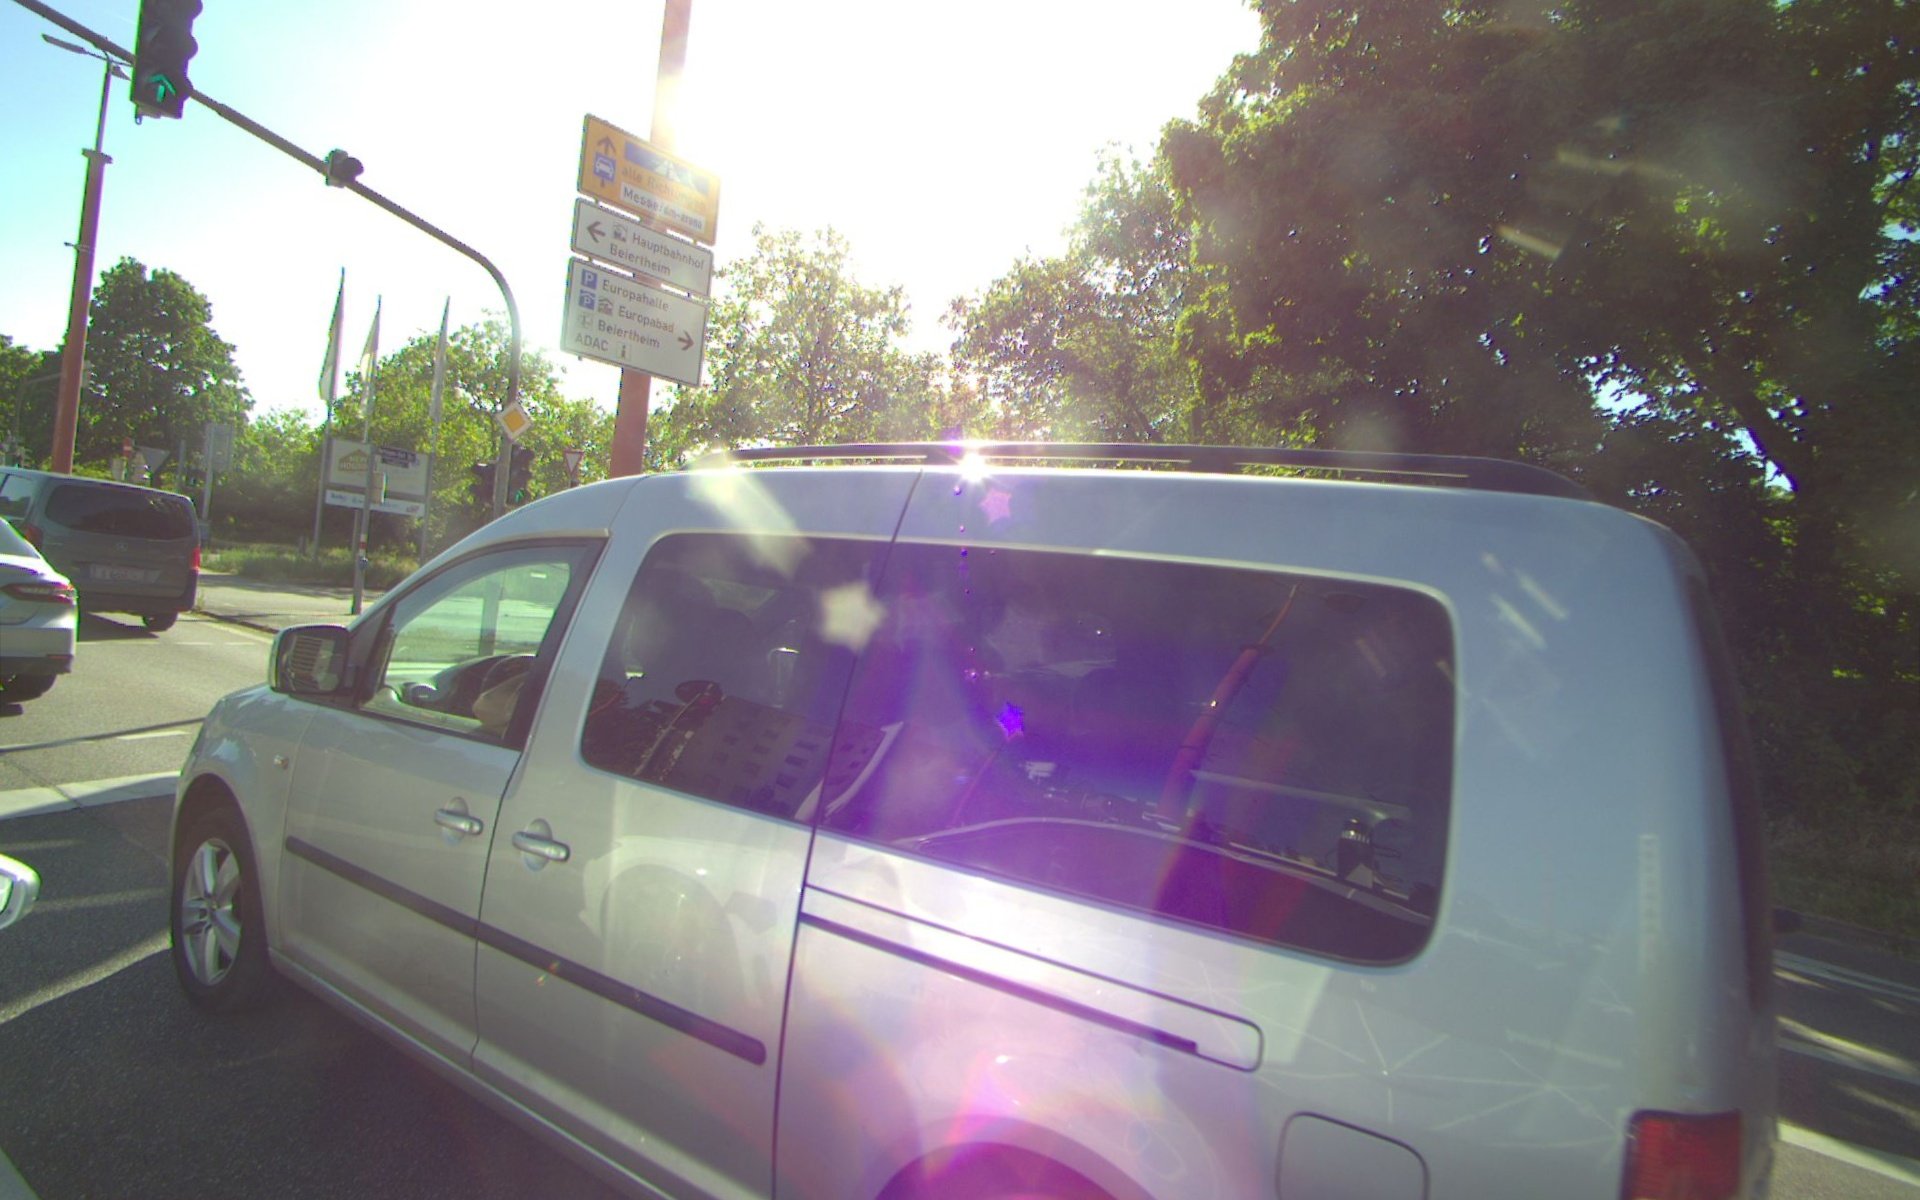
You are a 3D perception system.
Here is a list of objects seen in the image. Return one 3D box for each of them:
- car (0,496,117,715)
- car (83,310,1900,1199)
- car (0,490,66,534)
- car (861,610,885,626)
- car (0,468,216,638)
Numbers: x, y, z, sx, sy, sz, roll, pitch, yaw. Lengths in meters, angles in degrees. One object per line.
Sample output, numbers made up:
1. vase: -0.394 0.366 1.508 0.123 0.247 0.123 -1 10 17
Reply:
1. car: -8.767 -0.202 7.874 4.604 1.510 1.808 6 -2 31
2. car: -0.561 0.505 3.008 4.512 1.843 1.807 6 -1 33
3. car: -42.691 -4.067 44.471 4.237 1.655 1.762 7 0 -20
4. car: -10.655 2.222 123.677 1.831 1.534 4.143 7 -2 10
5. car: -12.467 -0.750 13.809 5.019 1.875 1.806 7 0 32
